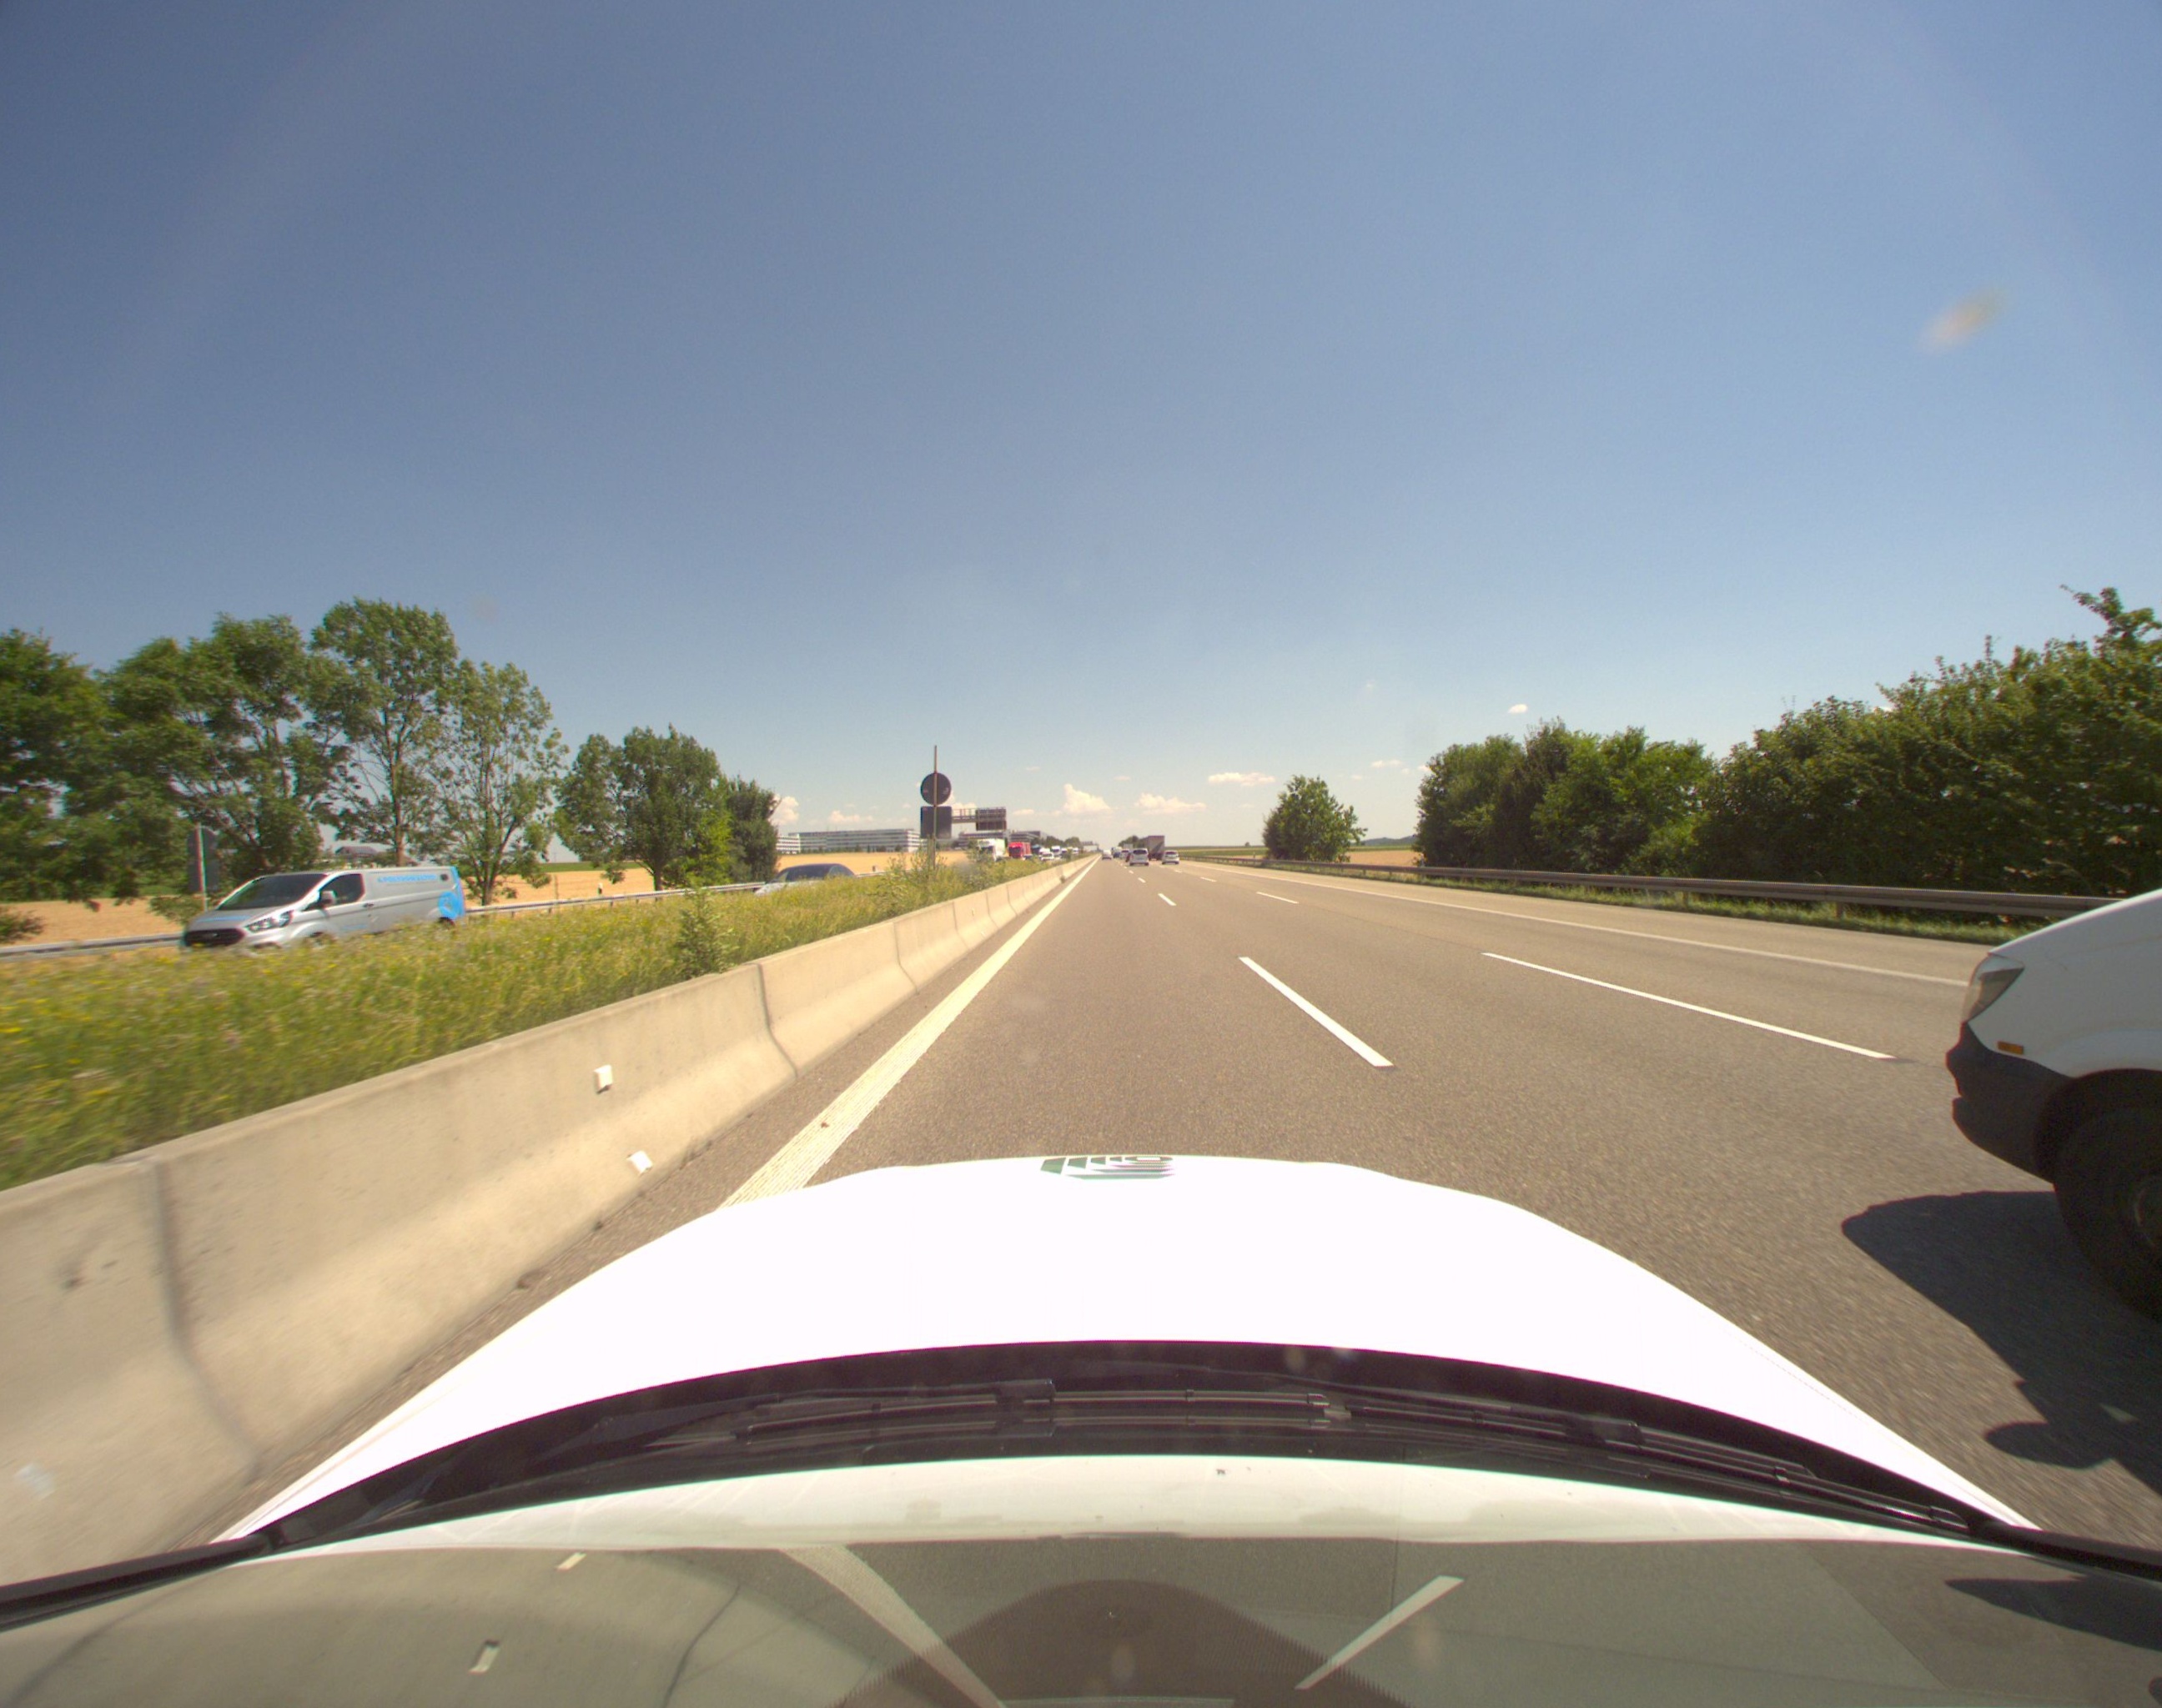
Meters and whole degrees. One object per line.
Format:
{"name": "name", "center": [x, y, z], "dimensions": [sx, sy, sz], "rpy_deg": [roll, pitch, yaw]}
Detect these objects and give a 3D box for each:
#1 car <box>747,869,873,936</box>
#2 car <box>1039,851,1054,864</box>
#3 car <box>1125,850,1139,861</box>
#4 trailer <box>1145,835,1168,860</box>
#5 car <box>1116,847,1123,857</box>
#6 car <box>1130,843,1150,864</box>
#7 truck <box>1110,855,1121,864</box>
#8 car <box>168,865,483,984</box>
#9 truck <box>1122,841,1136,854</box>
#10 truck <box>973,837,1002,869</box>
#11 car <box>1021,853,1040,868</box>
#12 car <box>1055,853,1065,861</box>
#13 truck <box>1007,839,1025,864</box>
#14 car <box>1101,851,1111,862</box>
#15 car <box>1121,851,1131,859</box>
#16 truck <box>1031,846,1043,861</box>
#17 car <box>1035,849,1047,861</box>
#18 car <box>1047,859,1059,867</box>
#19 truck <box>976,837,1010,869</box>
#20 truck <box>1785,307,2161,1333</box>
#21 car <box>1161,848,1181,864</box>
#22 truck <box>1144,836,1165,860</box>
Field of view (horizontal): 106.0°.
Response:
{"name": "car", "center": [-7.493, 1.276, 23.095], "dimensions": [1.755, 1.550, 4.730], "rpy_deg": [-2, 0, 2]}
{"name": "car", "center": [-4.928, 0.464, 116.933], "dimensions": [1.810, 1.753, 4.993], "rpy_deg": [-2, 0, 1]}
{"name": "car", "center": [7.357, 0.195, 117.447], "dimensions": [1.767, 1.447, 4.001], "rpy_deg": [-1, -1, 2]}
{"name": "trailer", "center": [12.450, -1.033, 135.242], "dimensions": [3.265, 3.967, 9.115], "rpy_deg": [-1, -1, 2]}
{"name": "car", "center": [10.211, -0.508, 215.541], "dimensions": [1.767, 2.392, 4.001], "rpy_deg": [-1, -1, 2]}
{"name": "car", "center": [6.353, -0.041, 87.736], "dimensions": [1.986, 2.120, 4.001], "rpy_deg": [-1, -1, 2]}
{"name": "truck", "center": [7.653, 1.188, 182.132], "dimensions": [2.204, 2.013, 4.972], "rpy_deg": [-2, 0, 1]}
{"name": "car", "center": [-15.479, 1.302, 17.223], "dimensions": [1.756, 1.952, 5.118], "rpy_deg": [-3, 0, 1]}
{"name": "truck", "center": [15.205, -1.913, 258.522], "dimensions": [3.802, 3.905, 9.583], "rpy_deg": [-2, 0, 1]}
{"name": "truck", "center": [-12.594, -0.135, 110.373], "dimensions": [2.939, 4.158, 5.472], "rpy_deg": [-3, 0, 1]}
{"name": "car", "center": [-5.566, 0.690, 90.246], "dimensions": [1.667, 1.487, 4.398], "rpy_deg": [-2, 0, 1]}
{"name": "car", "center": [-3.870, 0.605, 152.899], "dimensions": [1.712, 1.350, 3.774], "rpy_deg": [-2, 0, 1]}
{"name": "truck", "center": [-12.127, -0.438, 152.154], "dimensions": [2.766, 4.598, 4.724], "rpy_deg": [-1, 0, 1]}
{"name": "car", "center": [4.714, 0.508, 153.498], "dimensions": [1.986, 2.014, 4.001], "rpy_deg": [-1, -1, 2]}
{"name": "car", "center": [8.954, 0.155, 161.855], "dimensions": [1.767, 1.447, 4.001], "rpy_deg": [-1, -1, 2]}
{"name": "truck", "center": [-10.286, -0.116, 191.270], "dimensions": [2.102, 3.600, 7.121], "rpy_deg": [-1, 0, 1]}
{"name": "car", "center": [-7.885, 0.216, 161.551], "dimensions": [1.853, 2.336, 5.708], "rpy_deg": [-1, 0, 1]}
{"name": "car", "center": [-4.624, 1.486, 134.503], "dimensions": [1.810, 1.350, 3.774], "rpy_deg": [-2, 0, 1]}
{"name": "truck", "center": [-12.452, -0.149, 116.806], "dimensions": [2.939, 4.158, 12.870], "rpy_deg": [-3, 0, 1]}
{"name": "truck", "center": [4.332, -0.097, 0.375], "dimensions": [2.312, 3.067, 6.753], "rpy_deg": [0, 0, 1]}
{"name": "car", "center": [10.612, 0.301, 95.821], "dimensions": [1.986, 1.794, 4.001], "rpy_deg": [-1, -1, 2]}
{"name": "truck", "center": [12.580, -0.965, 139.665], "dimensions": [3.259, 3.967, 4.914], "rpy_deg": [-1, -1, 1]}
